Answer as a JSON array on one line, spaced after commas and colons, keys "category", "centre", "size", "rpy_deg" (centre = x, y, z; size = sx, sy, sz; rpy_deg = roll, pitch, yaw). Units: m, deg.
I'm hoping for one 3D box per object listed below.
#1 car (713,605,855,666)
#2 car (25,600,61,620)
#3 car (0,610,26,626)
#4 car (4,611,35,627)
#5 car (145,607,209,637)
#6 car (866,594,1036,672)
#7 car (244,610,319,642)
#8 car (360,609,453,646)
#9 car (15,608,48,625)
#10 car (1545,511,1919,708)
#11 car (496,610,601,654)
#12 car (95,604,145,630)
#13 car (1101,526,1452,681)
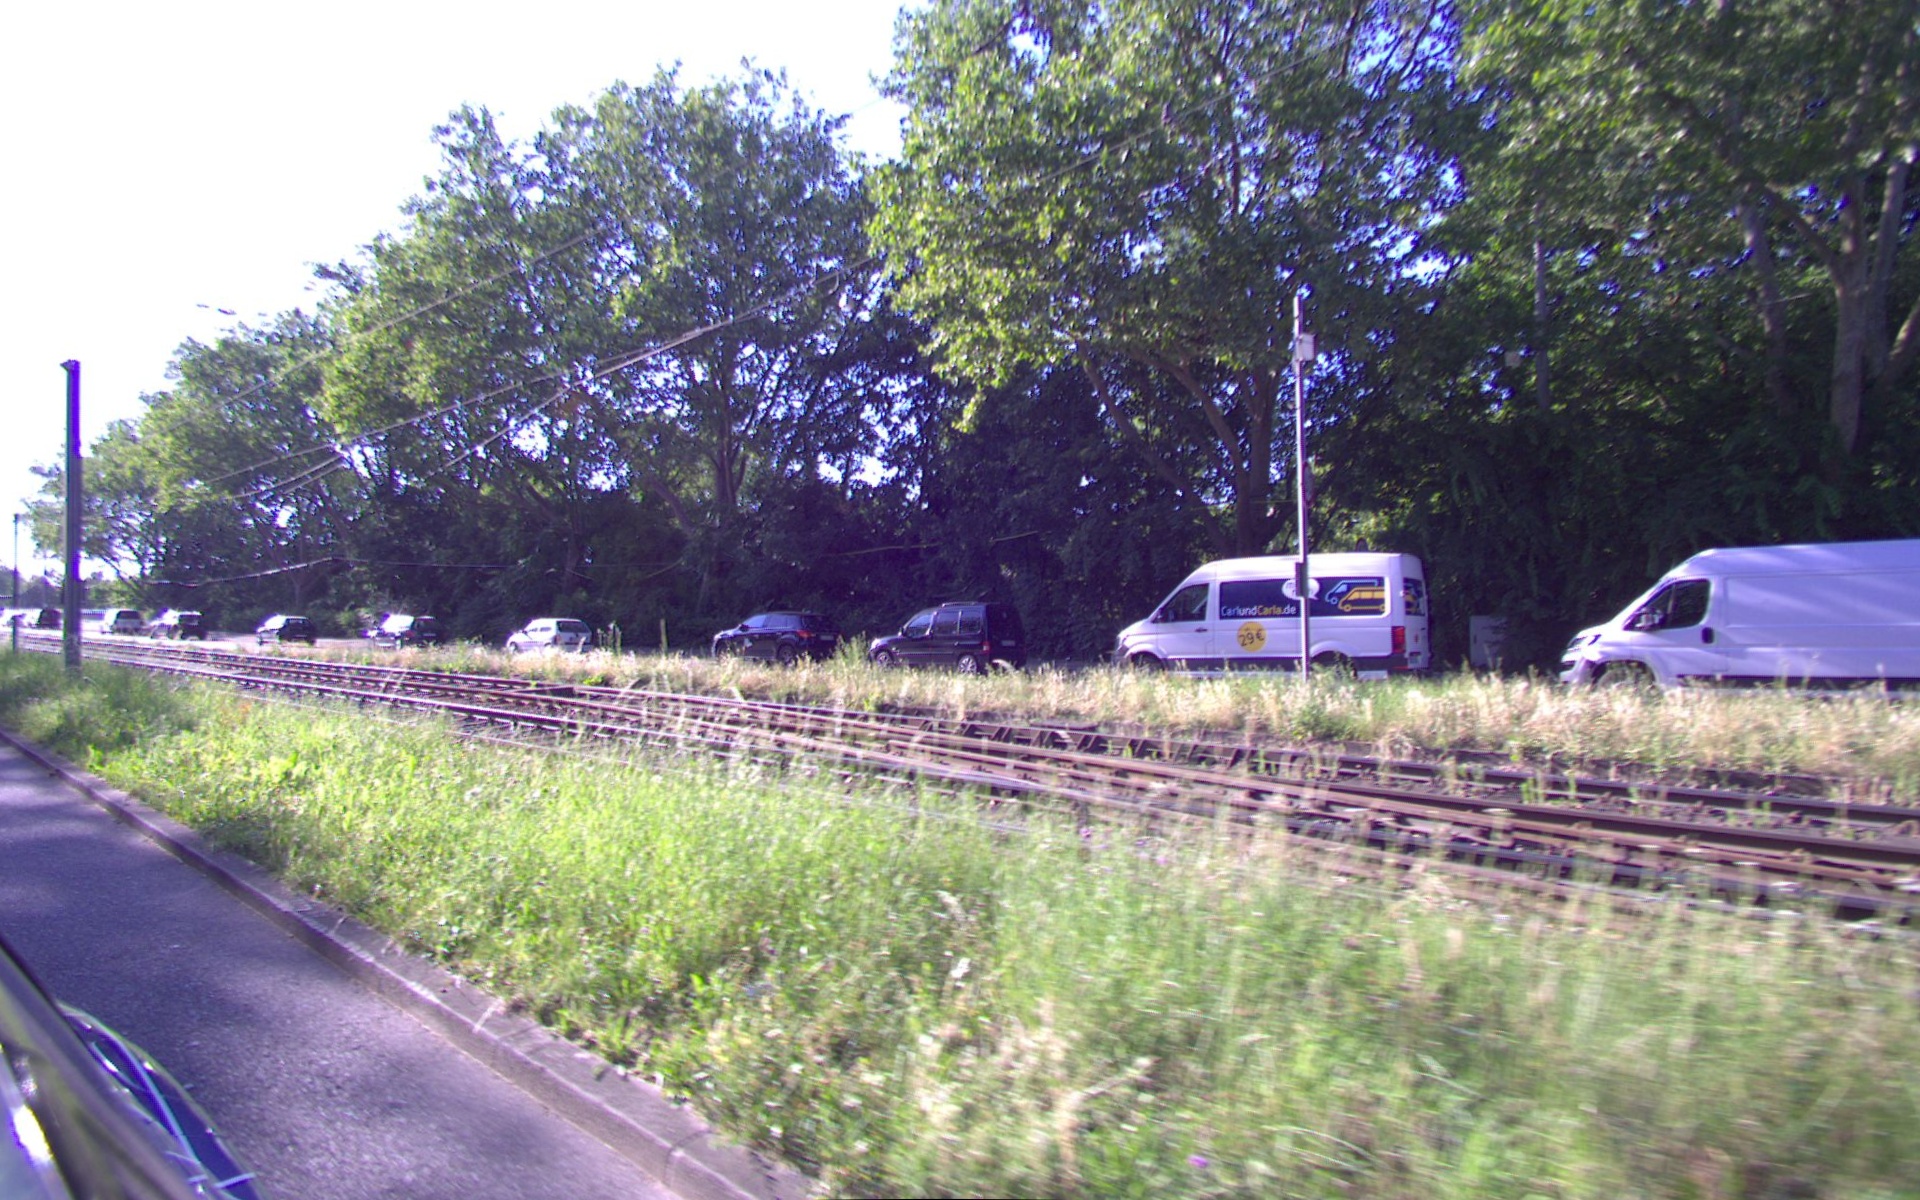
[{"category": "car", "centre": [-4.917, 0.952, 28.032], "size": [3.877, 1.567, 1.722], "rpy_deg": [0, -2, 38]}, {"category": "car", "centre": [-82.063, 0.859, 90.562], "size": [3.894, 1.753, 1.713], "rpy_deg": [0, -2, 38]}, {"category": "car", "centre": [-94.732, 1.768, 100.976], "size": [3.920, 1.511, 1.638], "rpy_deg": [0, -2, 38]}, {"category": "car", "centre": [-90.612, 1.800, 97.489], "size": [3.781, 1.453, 1.638], "rpy_deg": [0, -2, 39]}, {"category": "car", "centre": [-48.194, 1.344, 62.289], "size": [4.383, 1.732, 1.812], "rpy_deg": [0, -1, 34]}, {"category": "car", "centre": [-0.252, 0.767, 24.463], "size": [3.877, 1.741, 1.722], "rpy_deg": [0, -2, 38]}, {"category": "car", "centre": [-33.808, 1.261, 50.386], "size": [4.388, 1.517, 1.809], "rpy_deg": [0, -2, 38]}, {"category": "car", "centre": [-23.048, 1.119, 42.101], "size": [4.318, 1.447, 1.809], "rpy_deg": [0, -2, 38]}, {"category": "car", "centre": [-86.306, 1.524, 94.096], "size": [3.780, 1.453, 1.638], "rpy_deg": [0, -2, 38]}, {"category": "car", "centre": [12.133, 0.145, 14.570], "size": [6.260, 2.540, 2.163], "rpy_deg": [0, -2, 37]}, {"category": "car", "centre": [-14.501, 1.109, 35.593], "size": [3.846, 1.447, 1.722], "rpy_deg": [0, -2, 38]}, {"category": "car", "centre": [-60.324, 1.200, 72.654], "size": [4.388, 1.854, 1.809], "rpy_deg": [0, -2, 38]}, {"category": "car", "centre": [5.884, 0.085, 19.350], "size": [6.042, 2.540, 2.163], "rpy_deg": [0, -2, 38]}]
